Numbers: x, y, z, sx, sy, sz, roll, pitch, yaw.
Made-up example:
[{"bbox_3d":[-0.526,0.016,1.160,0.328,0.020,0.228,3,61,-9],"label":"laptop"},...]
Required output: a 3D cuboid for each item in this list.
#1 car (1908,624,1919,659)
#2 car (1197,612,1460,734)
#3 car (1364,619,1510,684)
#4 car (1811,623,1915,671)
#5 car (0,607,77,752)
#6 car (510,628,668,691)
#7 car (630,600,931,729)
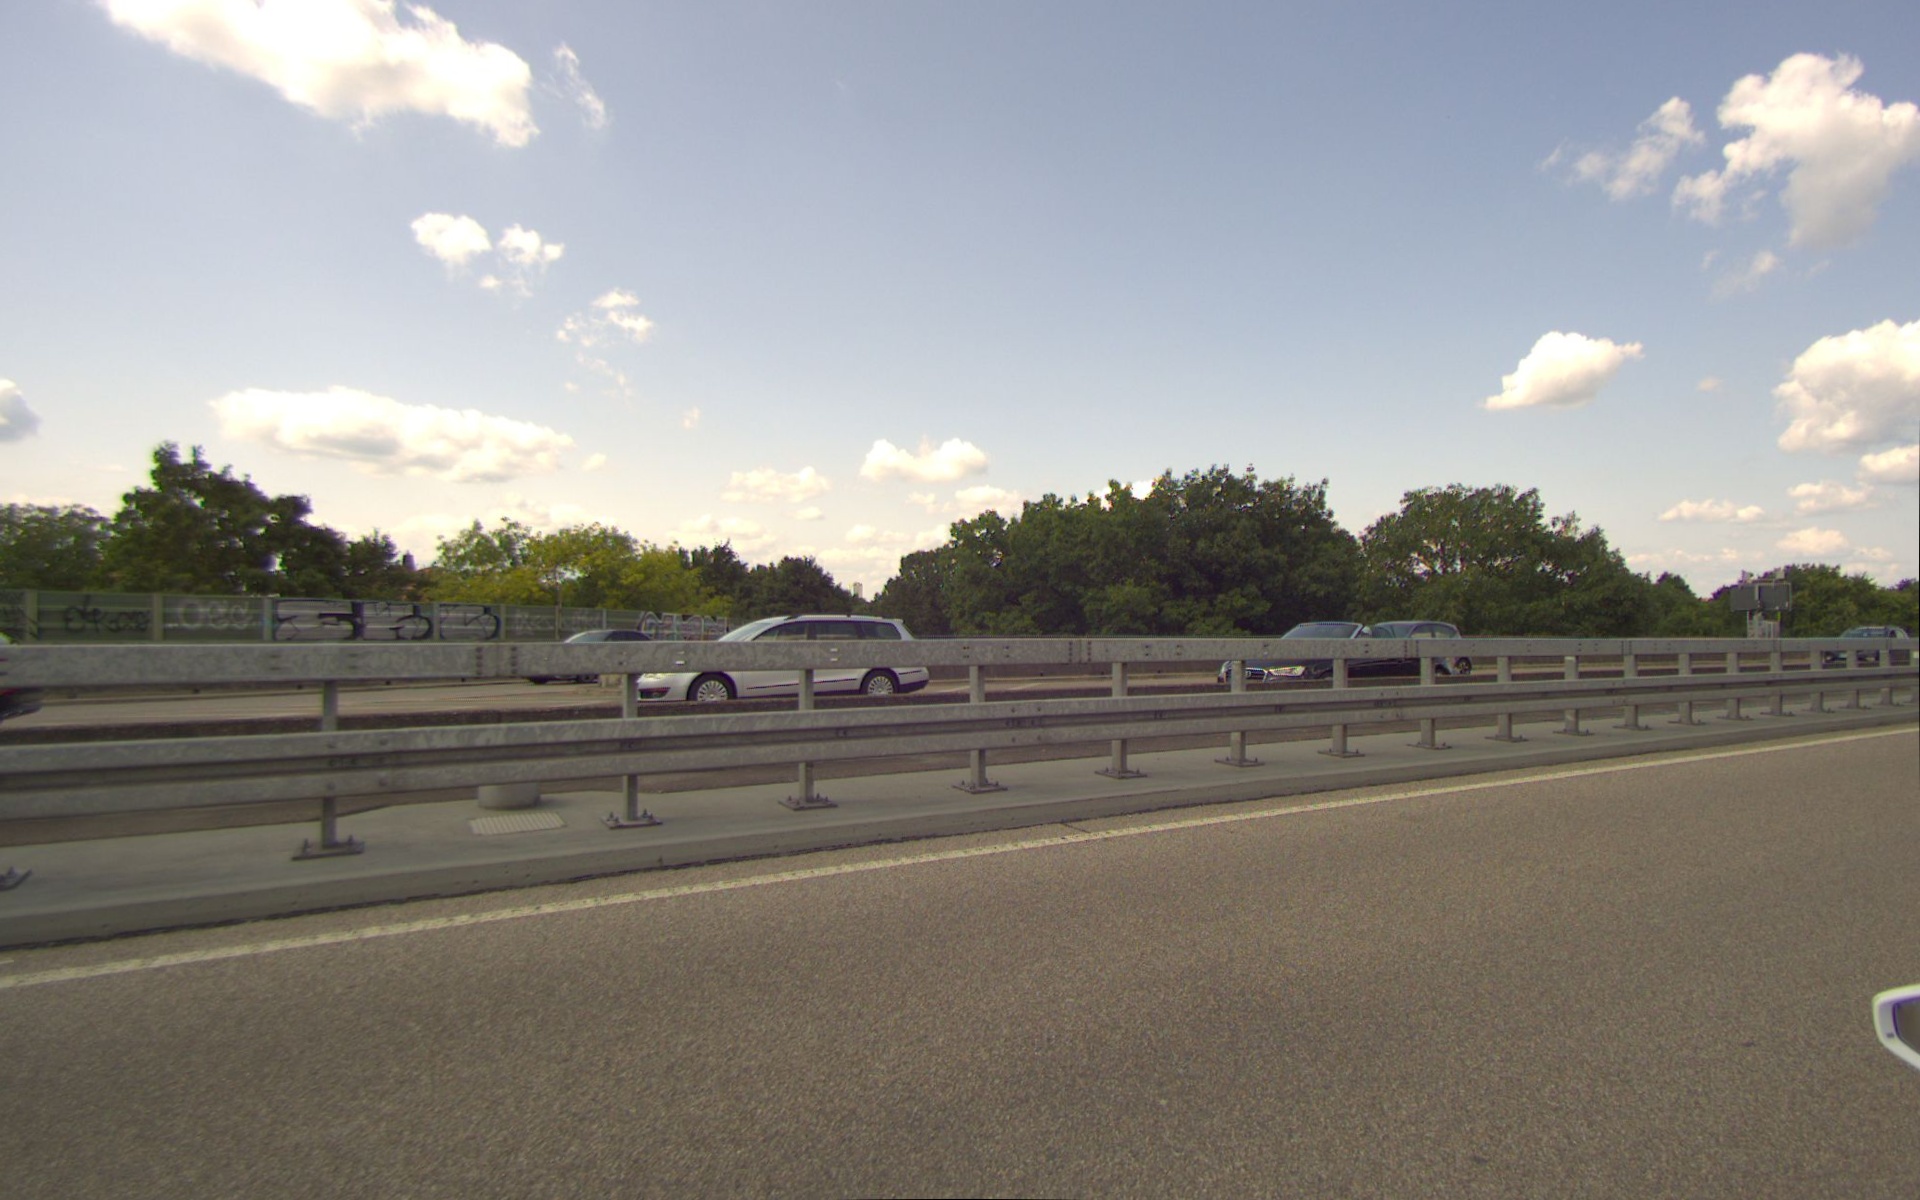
[{"bbox_3d":[48.296,2.053,49.063,4.464,1.662,1.879,1,1,-33],"label":"car"},{"bbox_3d":[5.669,1.030,15.324,4.017,1.593,1.665,1,1,-33],"label":"car"},{"bbox_3d":[11.713,1.239,24.642,3.592,1.494,1.589,1,-3,-33],"label":"car"},{"bbox_3d":[33.880,1.734,37.672,3.954,1.661,1.812,1,1,-31],"label":"car"},{"bbox_3d":[-11.551,0.810,9.904,4.003,1.408,1.774,0,1,-33],"label":"car"},{"bbox_3d":[-9.798,1.532,26.838,1.617,1.405,3.997,2,0,25],"label":"car"},{"bbox_3d":[-2.712,0.877,15.606,4.362,1.734,1.573,0,1,-33],"label":"car"}]
